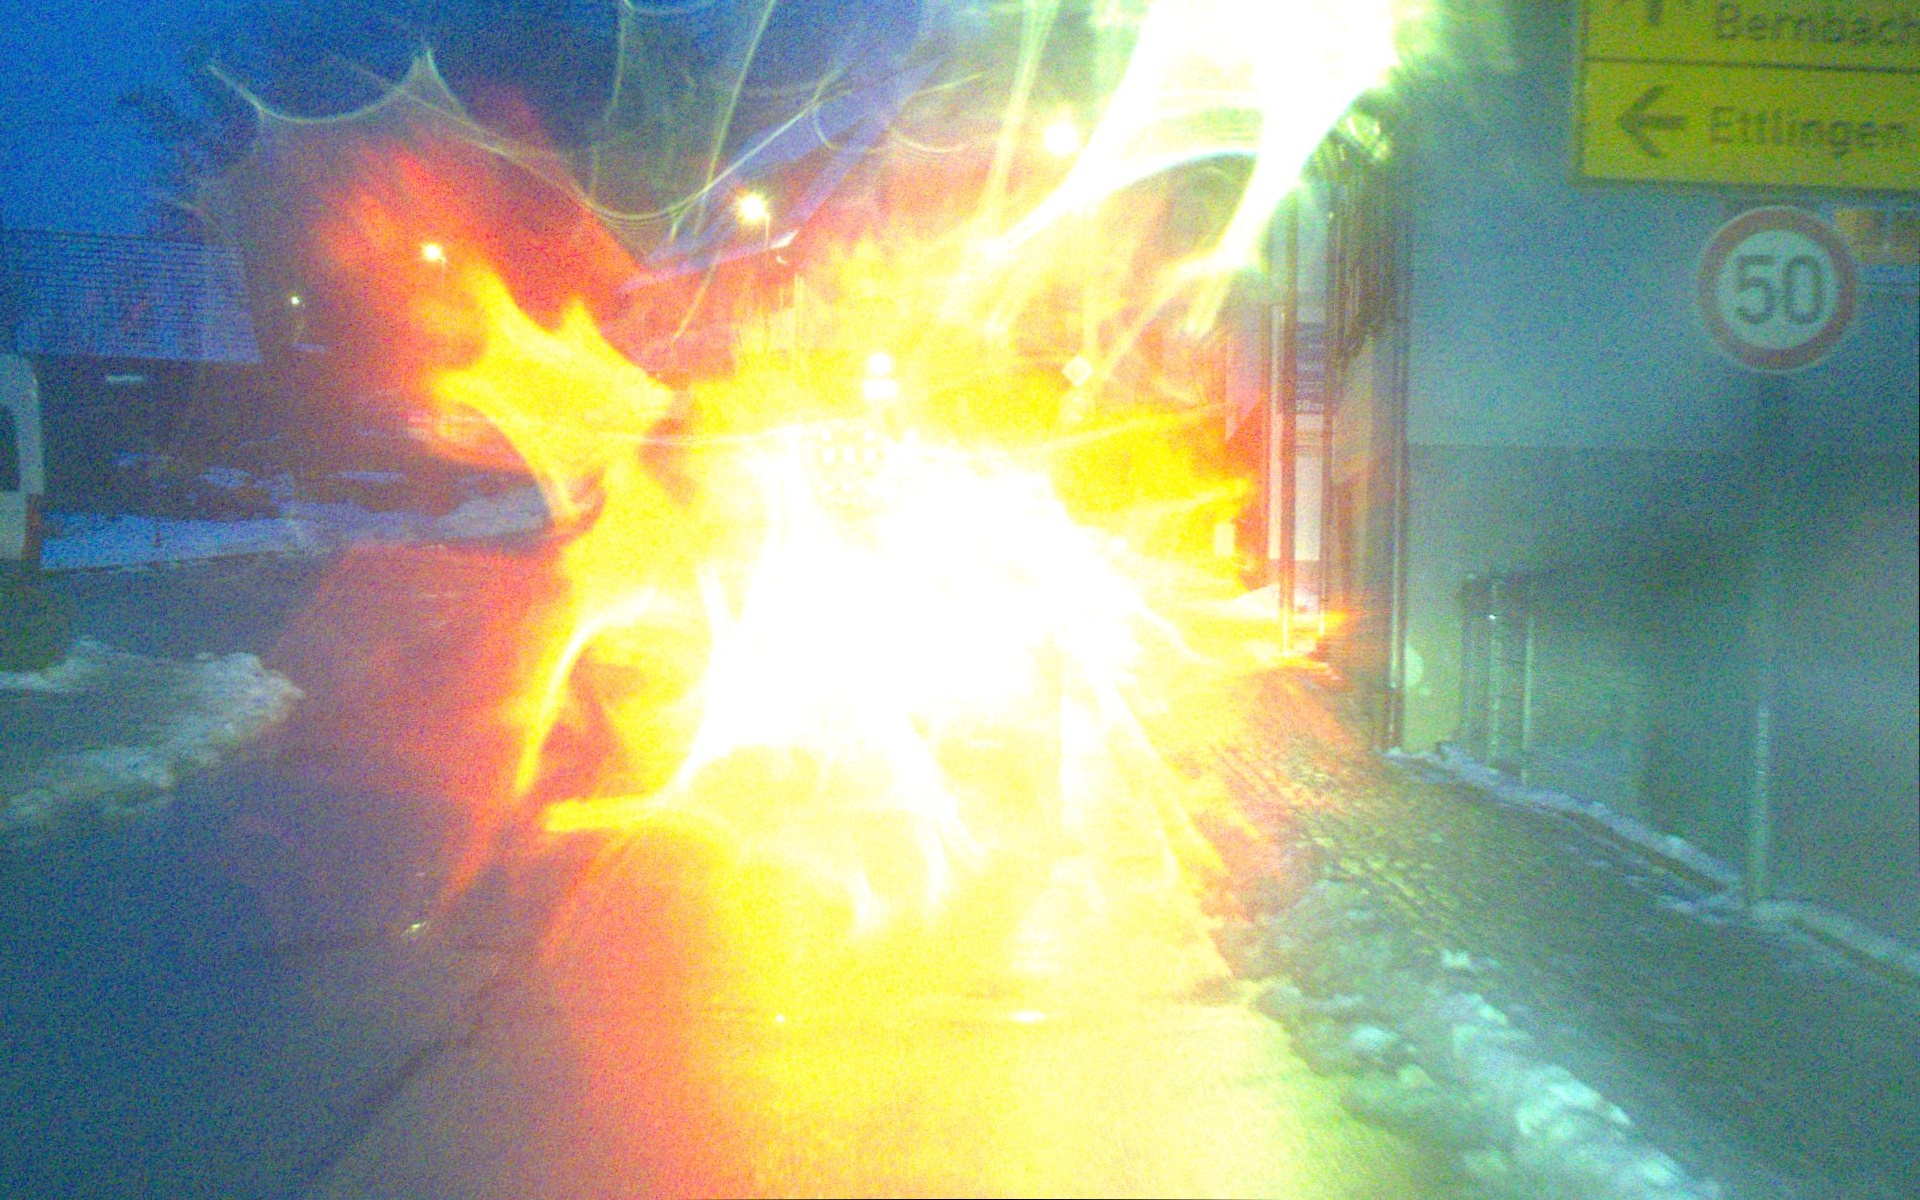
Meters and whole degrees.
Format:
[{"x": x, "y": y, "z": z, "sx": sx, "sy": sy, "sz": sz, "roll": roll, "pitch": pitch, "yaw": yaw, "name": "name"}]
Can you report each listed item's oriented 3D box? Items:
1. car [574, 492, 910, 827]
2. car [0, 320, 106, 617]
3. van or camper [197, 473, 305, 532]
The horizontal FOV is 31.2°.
[{"x": -1.288, "y": 0.272, "z": 20.740, "sx": 1.822, "sy": 1.790, "sz": 3.578, "roll": -1, "pitch": 2, "yaw": -3, "name": "car"}, {"x": -10.622, "y": -1.180, "z": 29.376, "sx": 6.095, "sy": 2.545, "sz": 2.000, "roll": 1, "pitch": 0, "yaw": -31, "name": "car"}, {"x": -14.112, "y": -1.925, "z": 68.333, "sx": 1.282, "sy": 1.097, "sz": 3.273, "roll": 1, "pitch": 0, "yaw": -27, "name": "van or camper"}]
